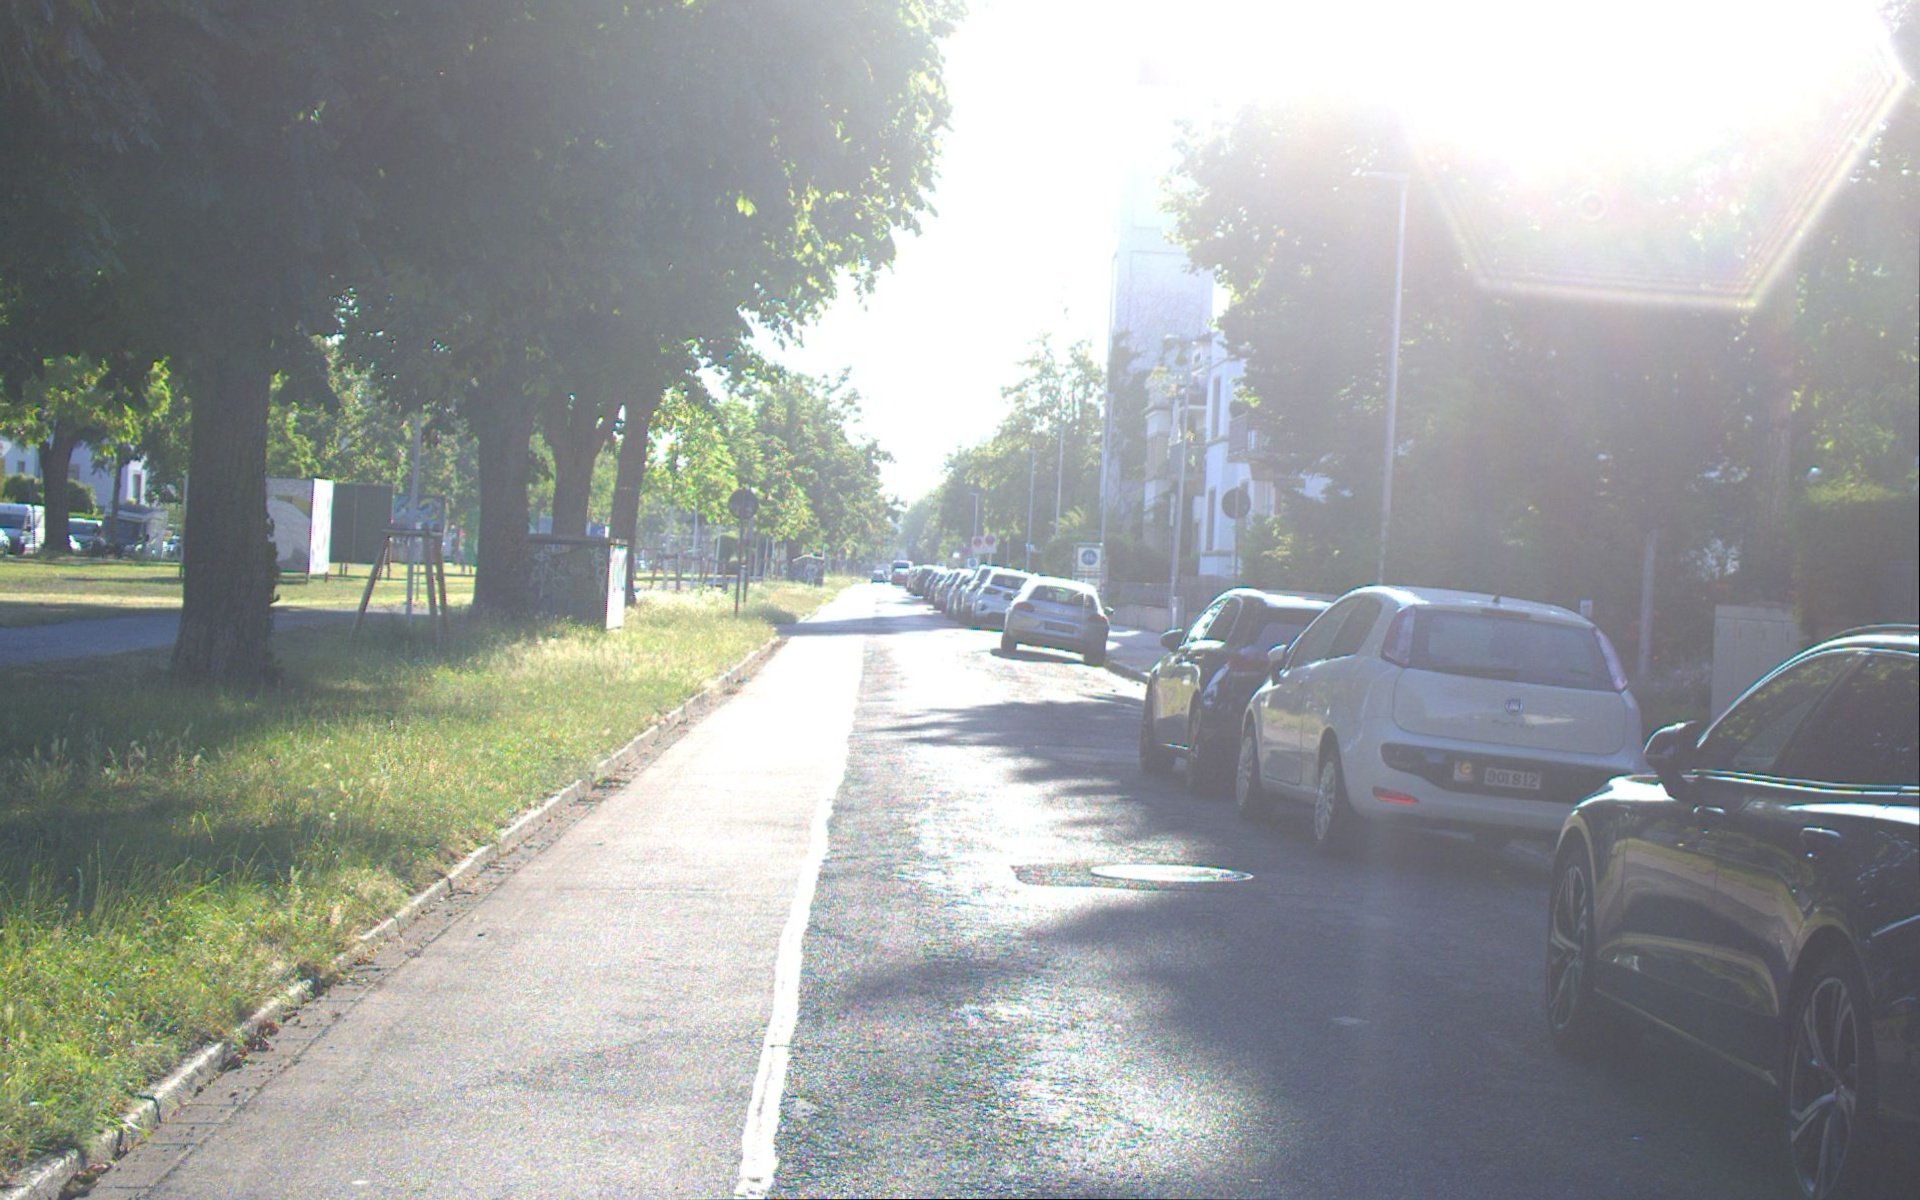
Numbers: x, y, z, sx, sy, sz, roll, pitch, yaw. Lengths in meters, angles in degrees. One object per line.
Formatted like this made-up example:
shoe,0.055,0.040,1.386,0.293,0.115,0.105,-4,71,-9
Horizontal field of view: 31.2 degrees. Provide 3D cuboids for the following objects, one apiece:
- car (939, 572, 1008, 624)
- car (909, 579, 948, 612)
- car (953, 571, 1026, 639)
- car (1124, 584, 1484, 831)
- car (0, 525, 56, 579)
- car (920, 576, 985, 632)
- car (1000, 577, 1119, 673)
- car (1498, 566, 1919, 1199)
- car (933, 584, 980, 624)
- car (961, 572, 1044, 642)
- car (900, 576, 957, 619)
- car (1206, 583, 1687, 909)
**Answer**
car,0.374,-0.048,100.421,1.760,1.415,4.000,3,0,-2
car,-1.703,-0.245,186.936,1.980,1.677,4.000,3,0,0
car,0.762,0.111,91.021,1.685,1.645,4.100,3,0,-1
car,2.347,0.692,24.558,1.748,1.472,4.289,5,0,-4
car,-43.728,-2.233,160.313,1.993,2.401,4.363,1,-1,-1
car,-0.248,0.099,105.289,1.758,1.599,4.359,3,0,-2
car,1.755,0.431,61.796,1.757,1.415,4.072,9,0,-1
car,2.824,0.740,9.250,1.793,1.487,4.674,4,0,-2
car,-0.176,0.185,152.534,1.993,1.624,4.000,3,0,0
car,1.030,0.159,85.128,1.758,1.599,4.359,3,0,-2
car,-1.143,-0.102,126.451,1.993,1.459,4.000,3,0,0
car,2.638,0.742,19.551,1.691,1.478,3.930,7,0,-5
